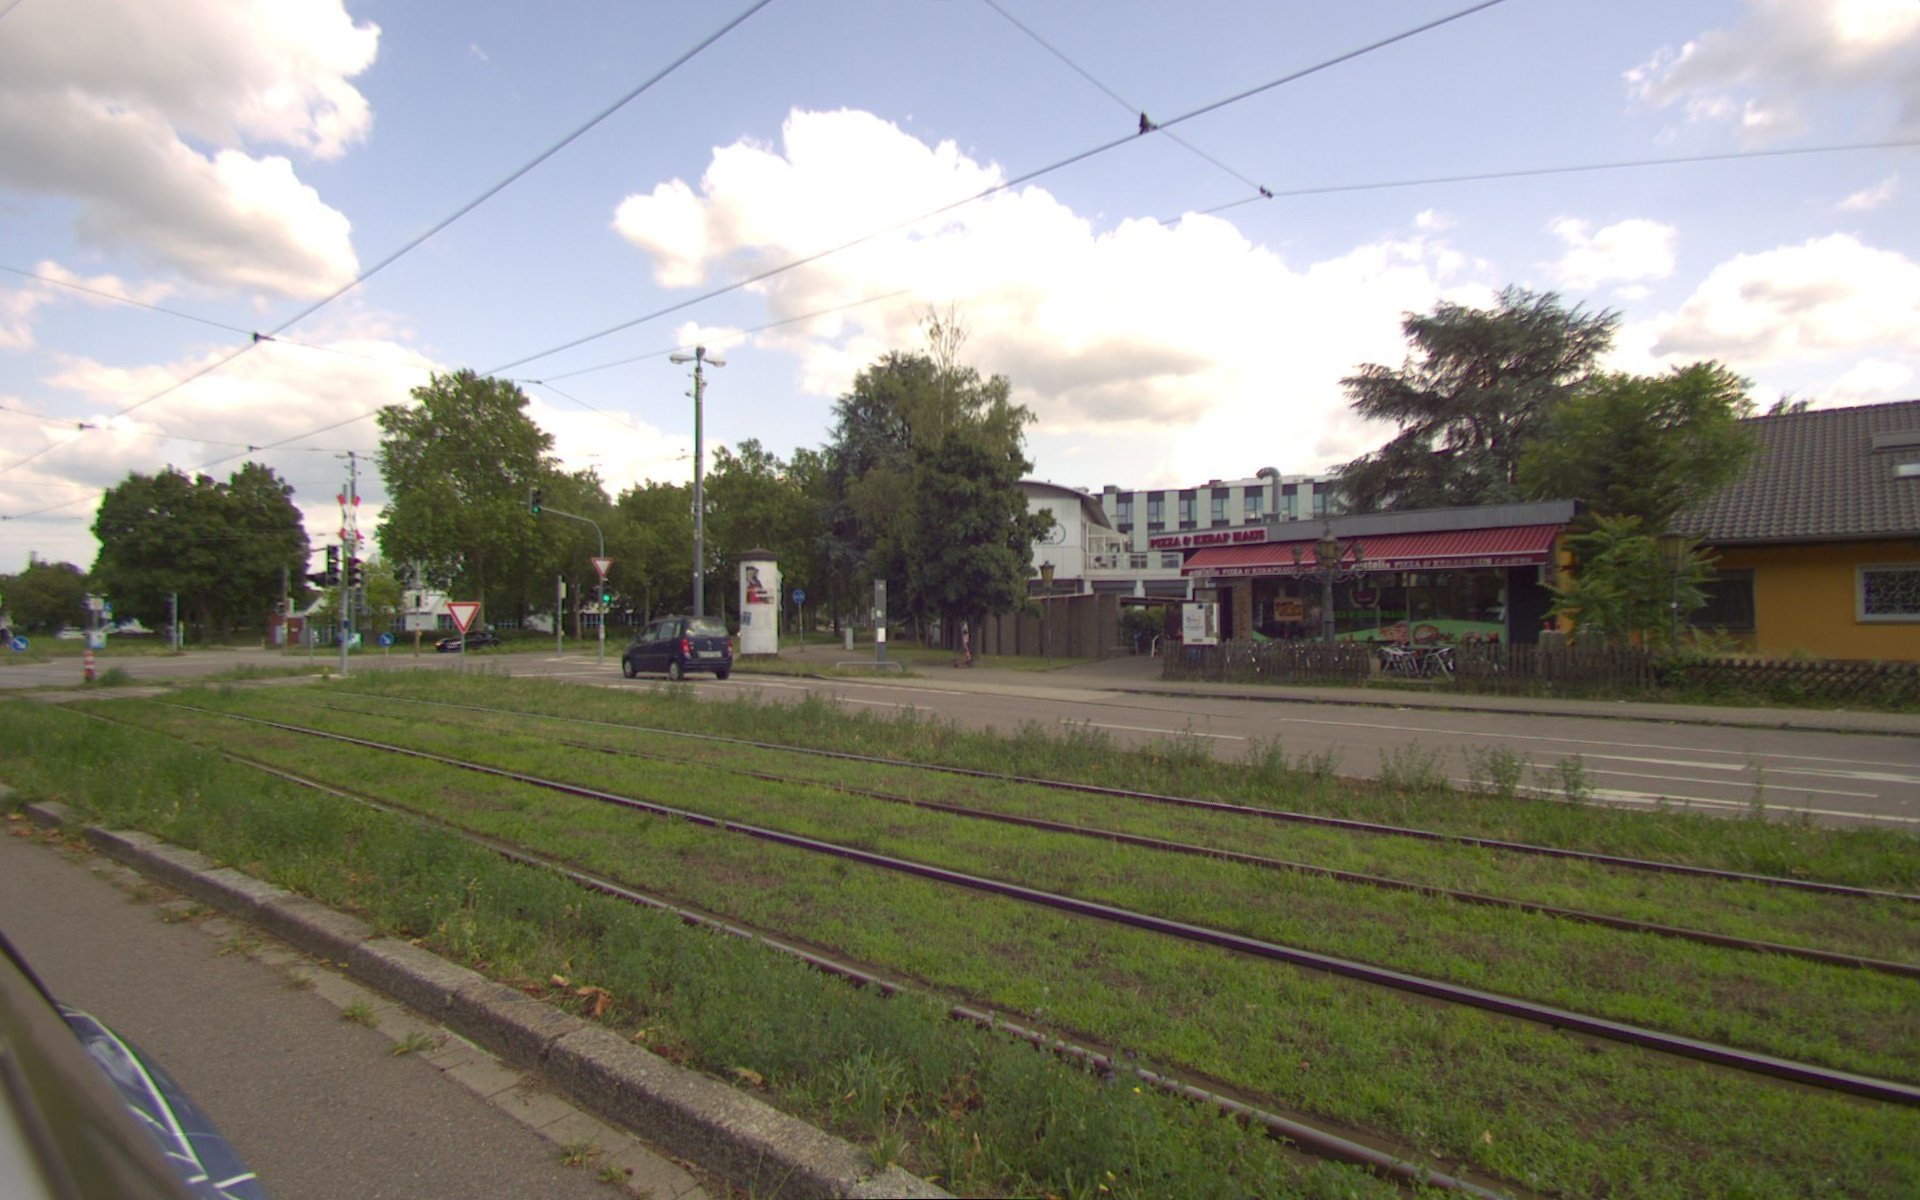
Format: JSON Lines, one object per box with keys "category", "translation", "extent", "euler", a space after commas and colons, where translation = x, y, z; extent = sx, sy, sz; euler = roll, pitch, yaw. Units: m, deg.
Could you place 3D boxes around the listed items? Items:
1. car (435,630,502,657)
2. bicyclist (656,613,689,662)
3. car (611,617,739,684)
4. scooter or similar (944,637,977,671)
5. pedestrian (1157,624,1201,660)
{"category": "car", "translation": [-29.612, 2.589, 61.062], "extent": [1.681, 1.535, 3.843], "euler": [0, -1, 11]}
{"category": "bicyclist", "translation": [-8.757, 1.129, 30.839], "extent": [0.616, 1.468, 0.929], "euler": [1, -2, -44]}
{"category": "car", "translation": [-7.613, 1.286, 26.919], "extent": [3.496, 1.639, 1.759], "euler": [-1, -2, 44]}
{"category": "scooter or similar", "translation": [0.021, 1.739, 32.732], "extent": [0.420, 1.041, 1.226], "euler": [1, -2, -36]}
{"category": "pedestrian", "translation": [7.252, 1.393, 33.490], "extent": [0.932, 1.155, 1.140], "euler": [-2, -2, 44]}
